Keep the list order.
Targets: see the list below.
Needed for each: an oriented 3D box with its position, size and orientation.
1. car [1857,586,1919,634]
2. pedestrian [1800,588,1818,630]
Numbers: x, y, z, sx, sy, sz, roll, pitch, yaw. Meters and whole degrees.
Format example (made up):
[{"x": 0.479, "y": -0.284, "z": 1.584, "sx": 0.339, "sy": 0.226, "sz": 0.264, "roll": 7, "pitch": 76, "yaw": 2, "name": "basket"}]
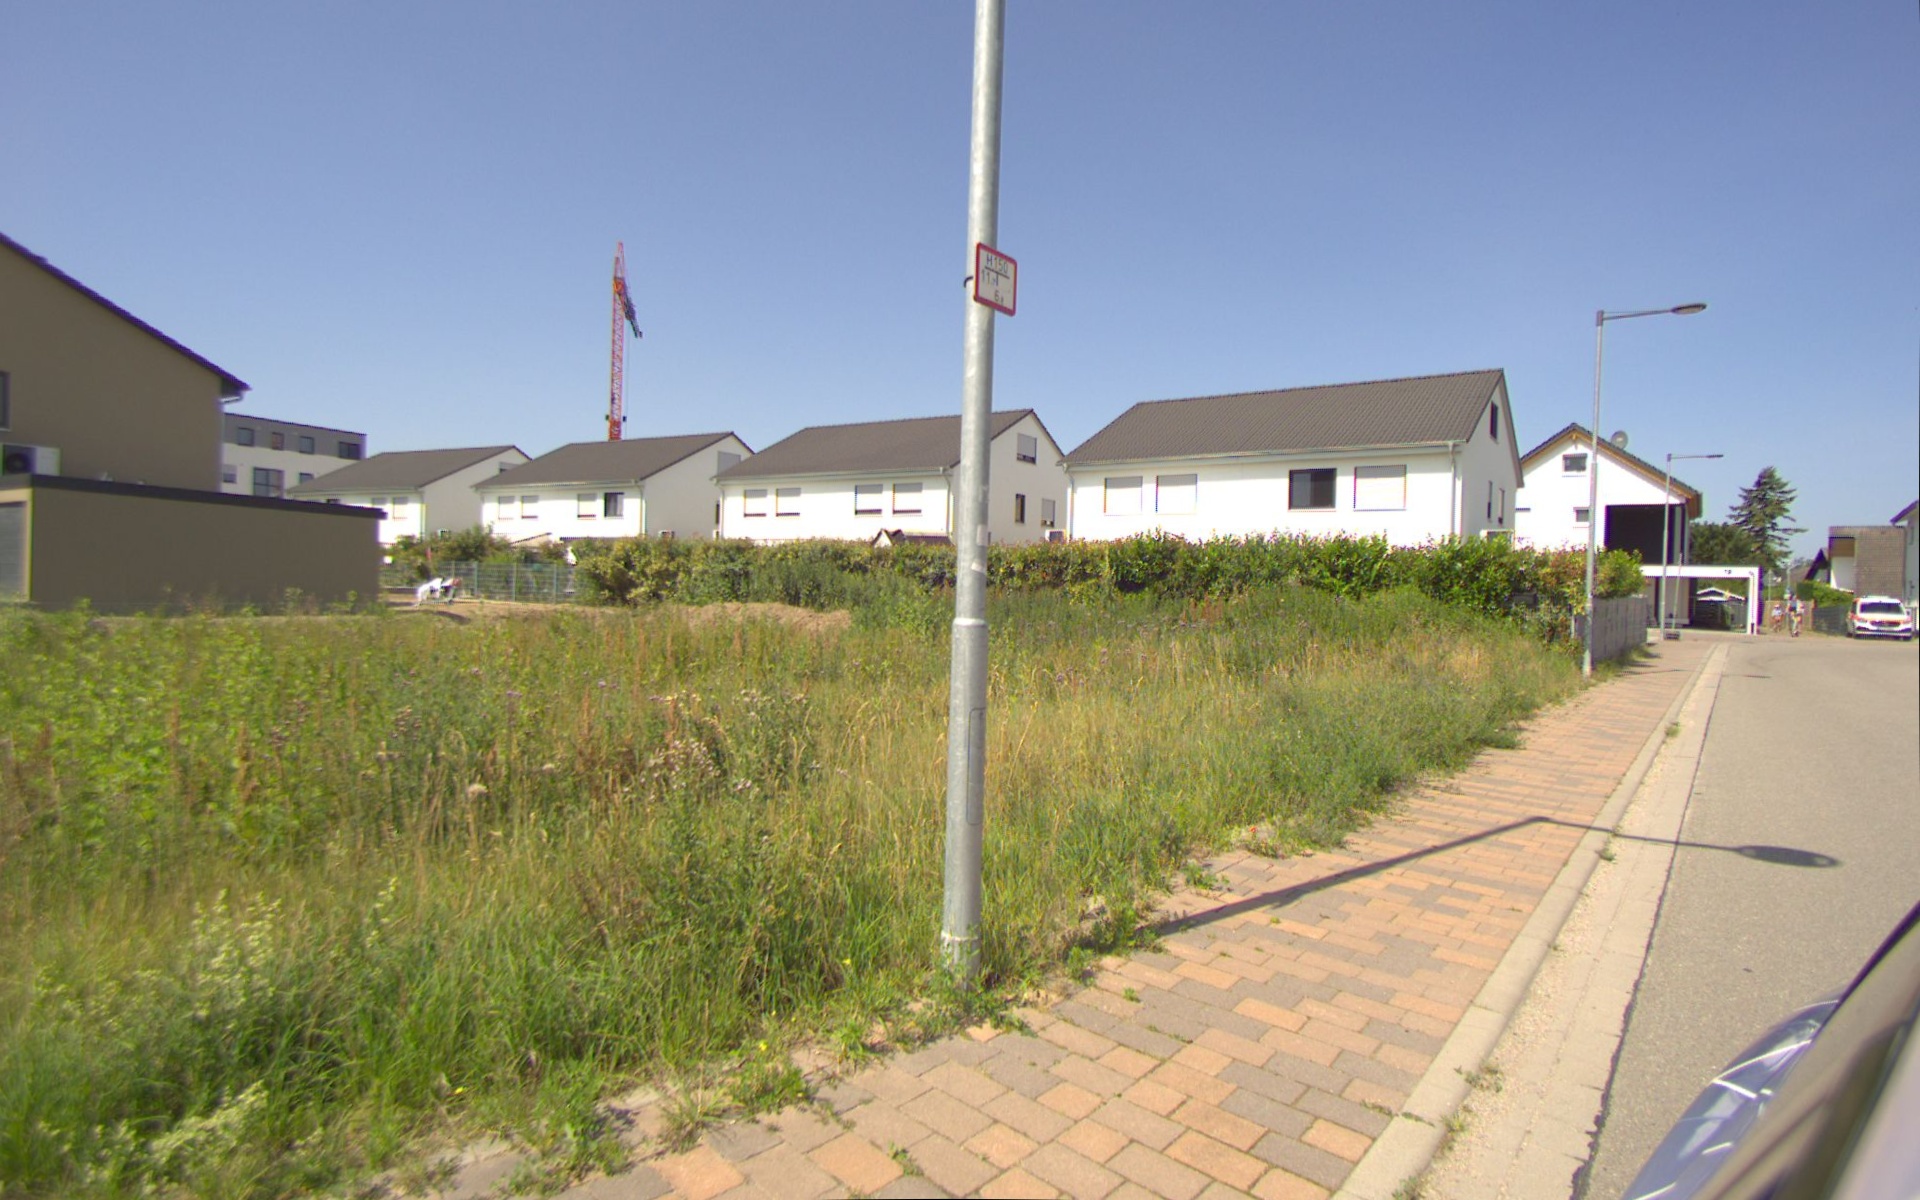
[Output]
[{"x": 39.408, "y": 0.396, "z": 42.826, "sx": 1.847, "sy": 1.909, "sz": 4.496, "roll": 0, "pitch": 0, "yaw": 38, "name": "car"}, {"x": 36.417, "y": 0.387, "z": 43.404, "sx": 0.549, "sy": 1.741, "sz": 0.807, "roll": 2, "pitch": 1, "yaw": 42, "name": "pedestrian"}]
